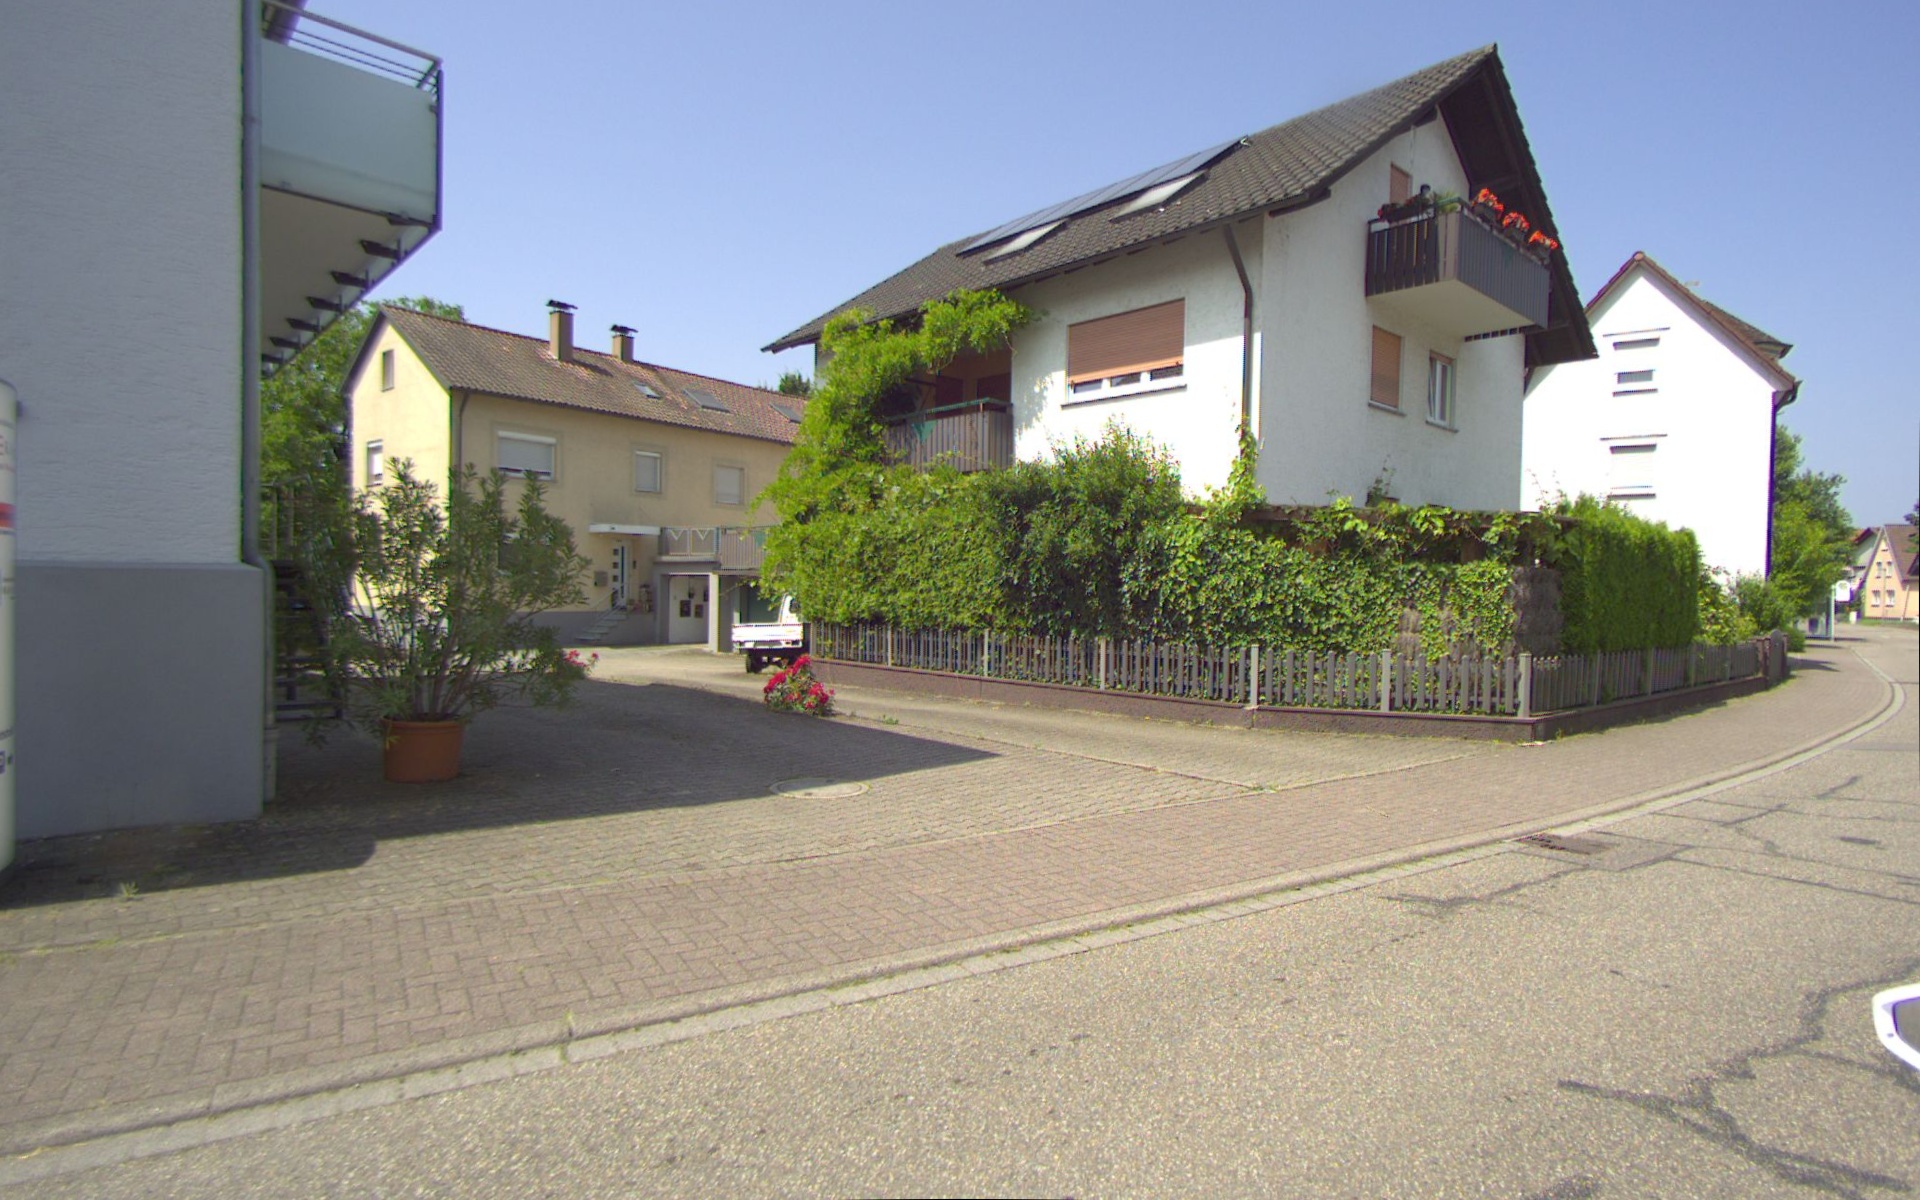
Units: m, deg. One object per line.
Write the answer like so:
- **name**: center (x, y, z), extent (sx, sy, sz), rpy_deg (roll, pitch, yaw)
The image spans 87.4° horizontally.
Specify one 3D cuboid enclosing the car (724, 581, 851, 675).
- **car**: center (-3.533, 0.608, 21.413), extent (1.694, 1.779, 4.676), rpy_deg (0, -2, 3)
